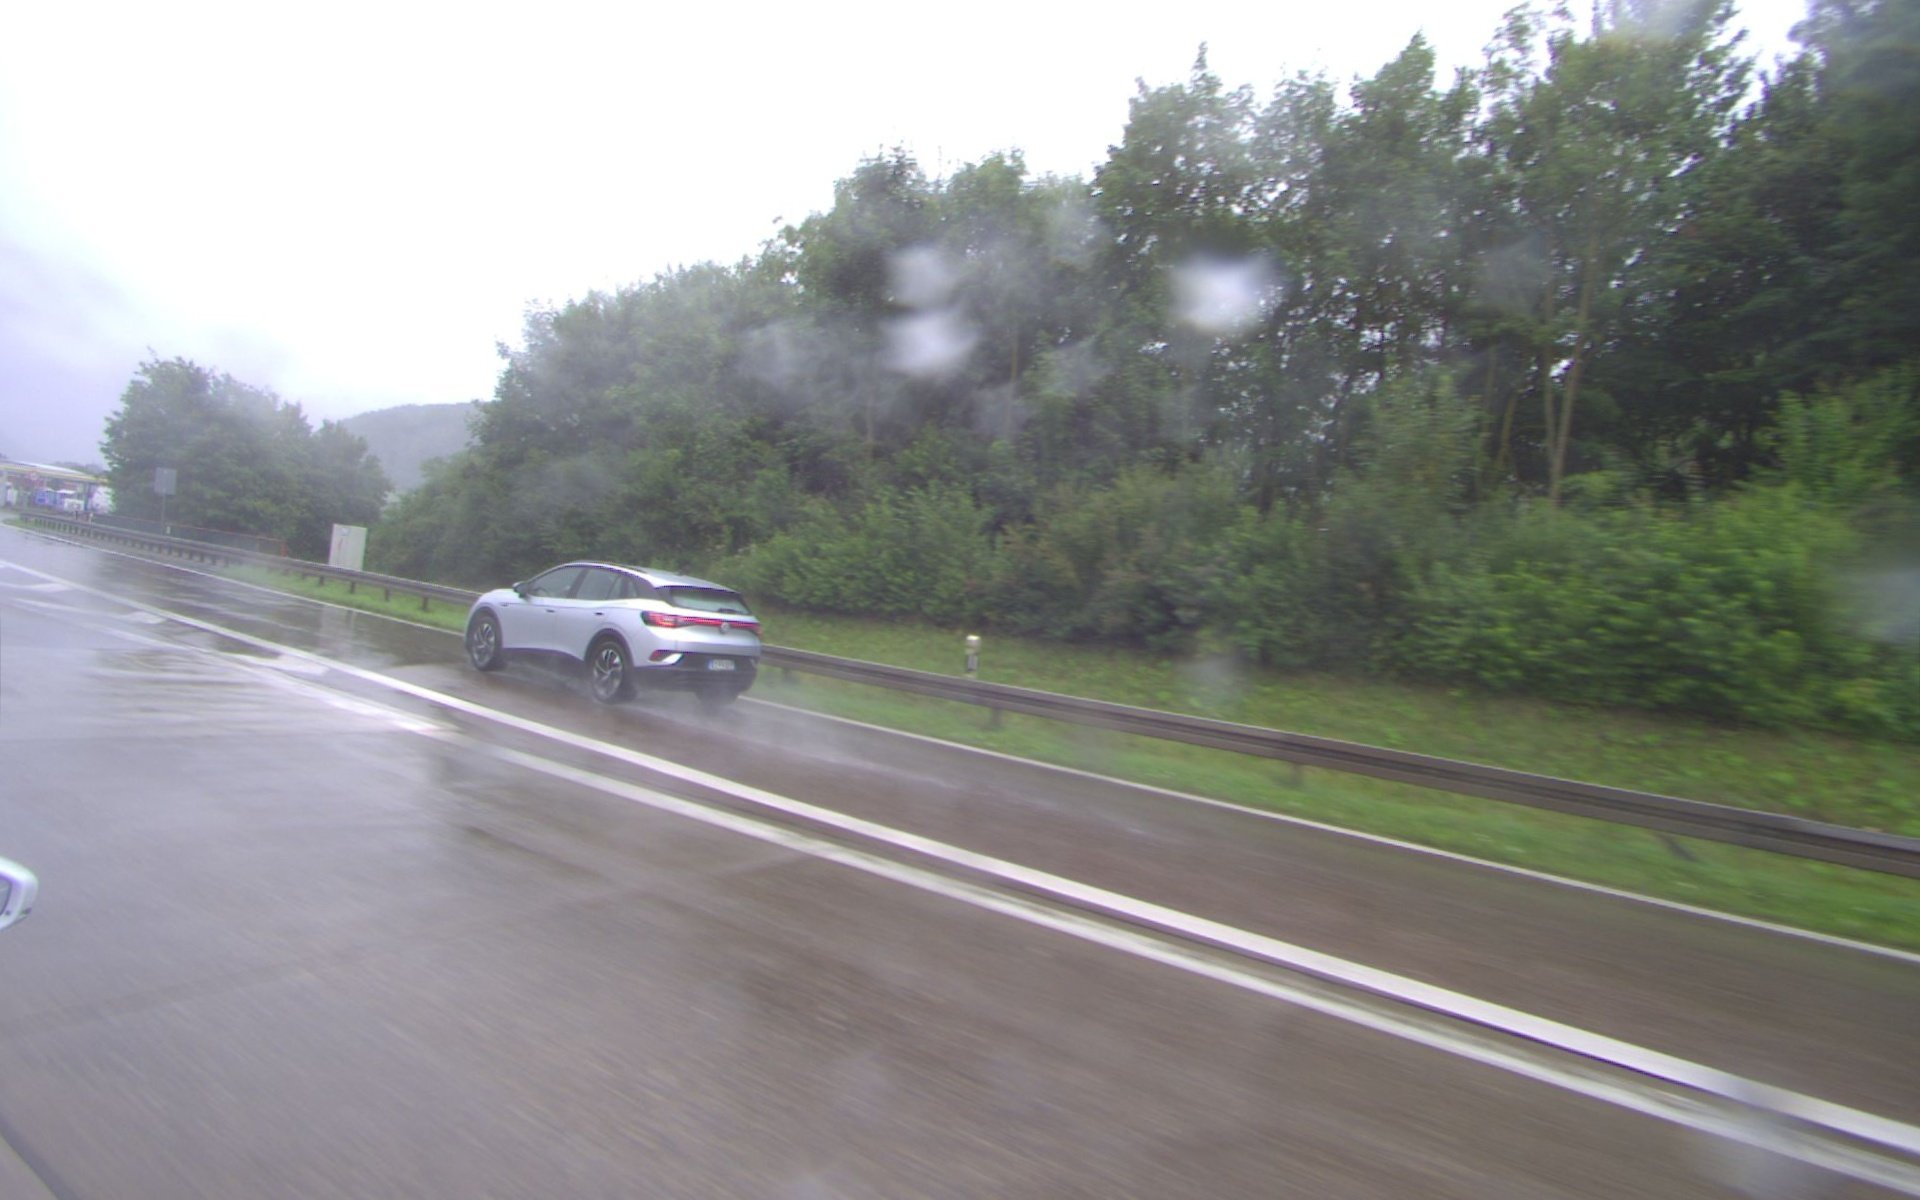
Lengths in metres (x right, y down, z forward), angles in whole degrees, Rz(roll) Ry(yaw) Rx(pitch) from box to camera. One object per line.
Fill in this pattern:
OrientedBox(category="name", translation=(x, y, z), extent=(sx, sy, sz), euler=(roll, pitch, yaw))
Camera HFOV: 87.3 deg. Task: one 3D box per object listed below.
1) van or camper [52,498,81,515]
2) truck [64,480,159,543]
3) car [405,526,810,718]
OrientedBox(category="van or camper", translation=(-131.135, -13.720, 147.618), extent=(3.934, 2.037, 1.998), euler=(6, -2, 32))
OrientedBox(category="truck", translation=(-72.937, -7.462, 86.791), extent=(2.845, 4.305, 11.804), euler=(8, -2, -25))
OrientedBox(category="car", translation=(-4.760, 0.210, 13.131), extent=(5.574, 1.770, 1.996), euler=(6, -2, 35))
